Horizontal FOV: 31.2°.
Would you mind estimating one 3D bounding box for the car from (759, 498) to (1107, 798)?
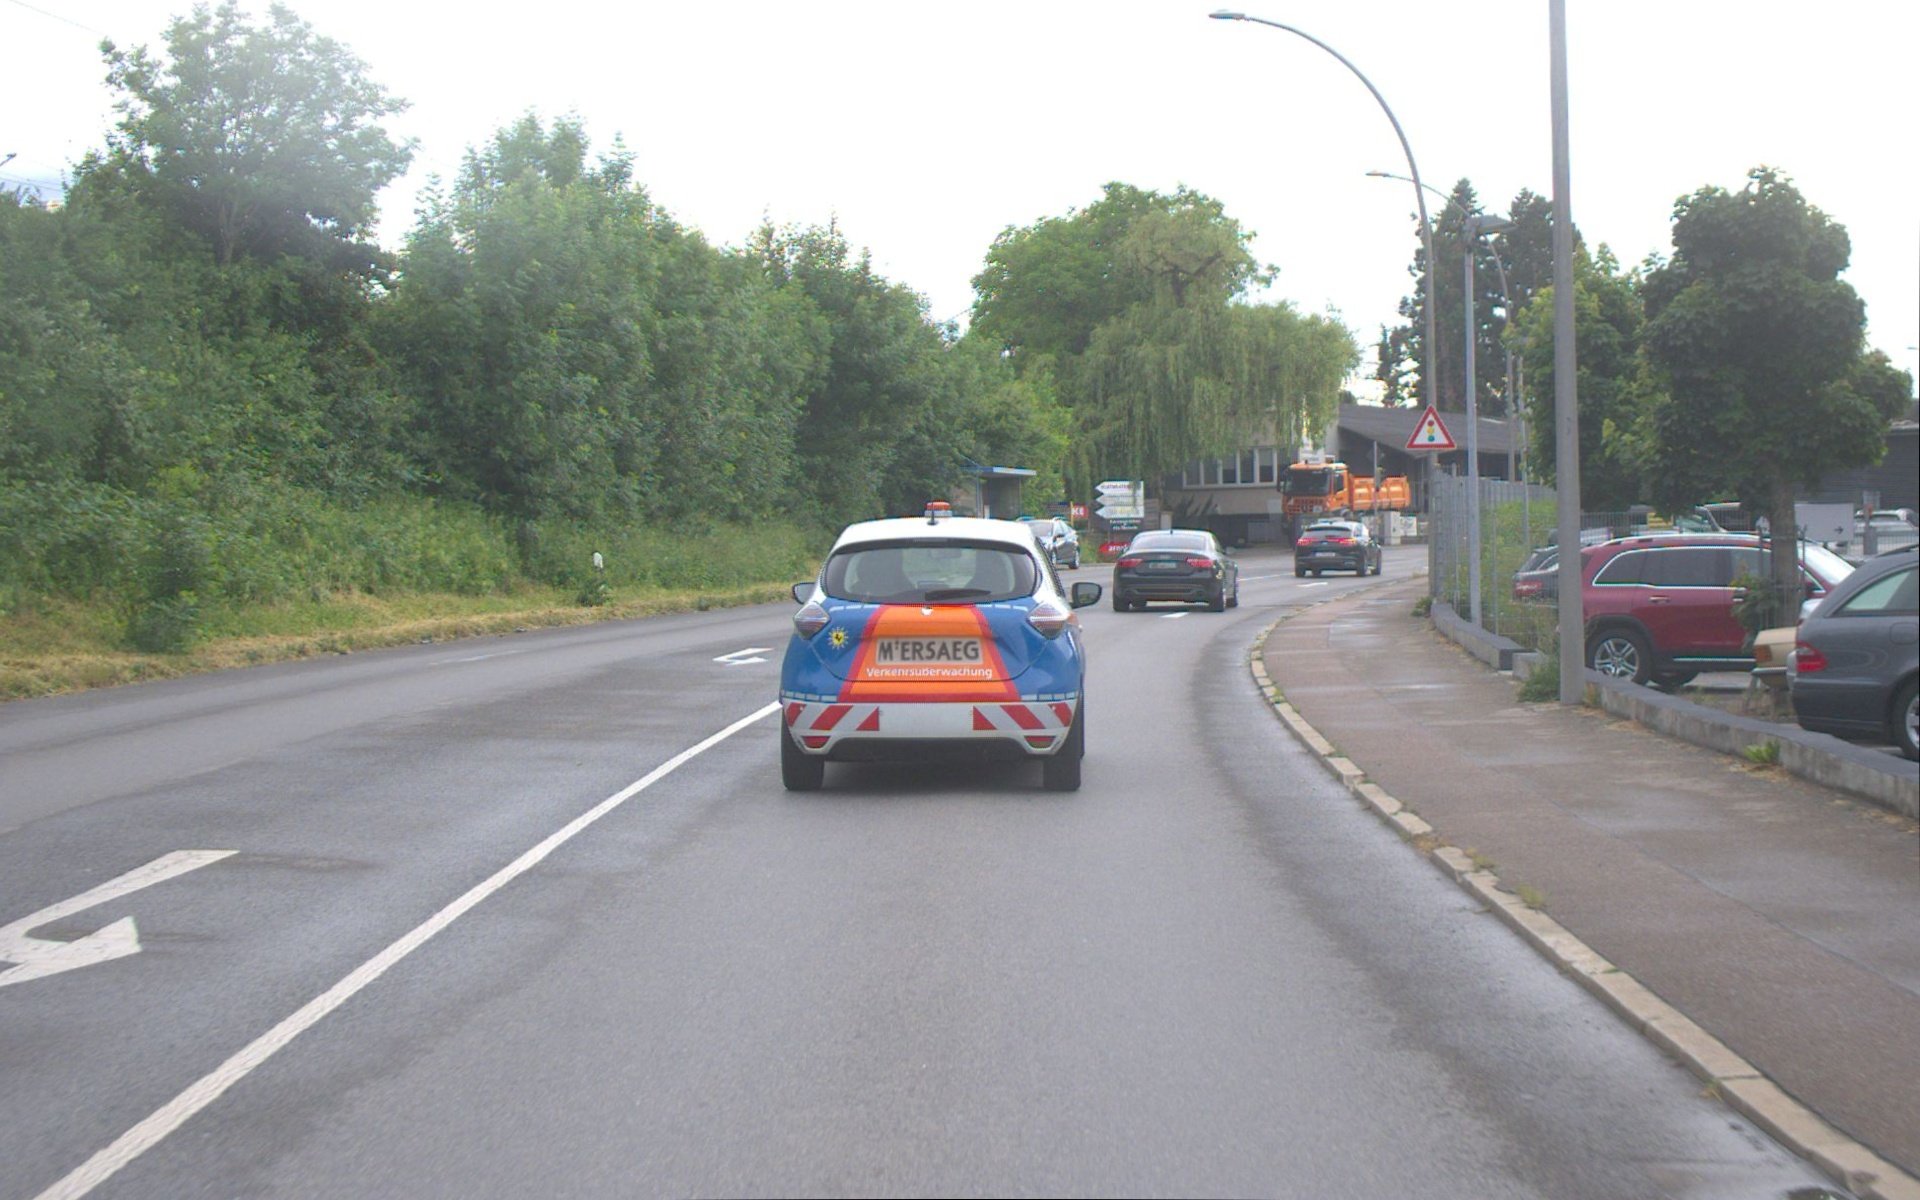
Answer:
[{"bbox_3d":[-0.162,0.218,20.775,1.888,1.626,4.000,0,1,0],"label":"car"}]

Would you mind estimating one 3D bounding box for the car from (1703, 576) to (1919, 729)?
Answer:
[{"bbox_3d":[8.773,0.465,29.778,4.230,1.297,1.732,0,-1,33],"label":"car"}]

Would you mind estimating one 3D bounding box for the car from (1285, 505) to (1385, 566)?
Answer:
[{"bbox_3d":[9.655,-1.646,88.194,1.995,1.415,3.997,2,0,14],"label":"car"}]

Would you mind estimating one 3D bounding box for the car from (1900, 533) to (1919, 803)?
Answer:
[{"bbox_3d":[7.525,0.376,18.371,4.437,1.474,1.931,1,1,34],"label":"car"}]

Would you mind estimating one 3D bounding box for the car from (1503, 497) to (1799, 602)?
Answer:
[{"bbox_3d":[10.156,-0.734,50.803,4.109,1.365,1.999,2,0,7],"label":"car"}]

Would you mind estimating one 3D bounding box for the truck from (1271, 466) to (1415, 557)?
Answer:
[{"bbox_3d":[16.147,-3.673,144.355,2.702,3.400,9.057,2,0,28],"label":"truck"}]

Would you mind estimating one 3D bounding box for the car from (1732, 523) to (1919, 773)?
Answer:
[{"bbox_3d":[7.217,0.356,21.943,3.996,1.550,1.894,2,0,39],"label":"car"}]

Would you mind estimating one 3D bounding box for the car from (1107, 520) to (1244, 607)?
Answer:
[{"bbox_3d":[3.686,-0.595,58.262,1.721,1.371,3.931,2,0,12],"label":"car"}]

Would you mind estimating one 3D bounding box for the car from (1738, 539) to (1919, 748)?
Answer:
[{"bbox_3d":[7.864,0.285,24.381,4.169,1.462,1.833,-1,0,37],"label":"car"}]

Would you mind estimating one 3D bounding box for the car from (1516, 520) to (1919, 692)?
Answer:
[{"bbox_3d":[8.577,0.057,36.896,4.691,1.657,1.996,2,0,32],"label":"car"}]

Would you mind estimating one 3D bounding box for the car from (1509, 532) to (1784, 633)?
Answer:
[{"bbox_3d":[10.637,-0.271,53.460,3.987,1.403,1.593,2,0,5],"label":"car"}]

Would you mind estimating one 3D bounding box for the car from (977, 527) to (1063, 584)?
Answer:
[{"bbox_3d":[1.722,-1.223,96.559,1.994,1.469,4.699,2,0,6],"label":"car"}]
